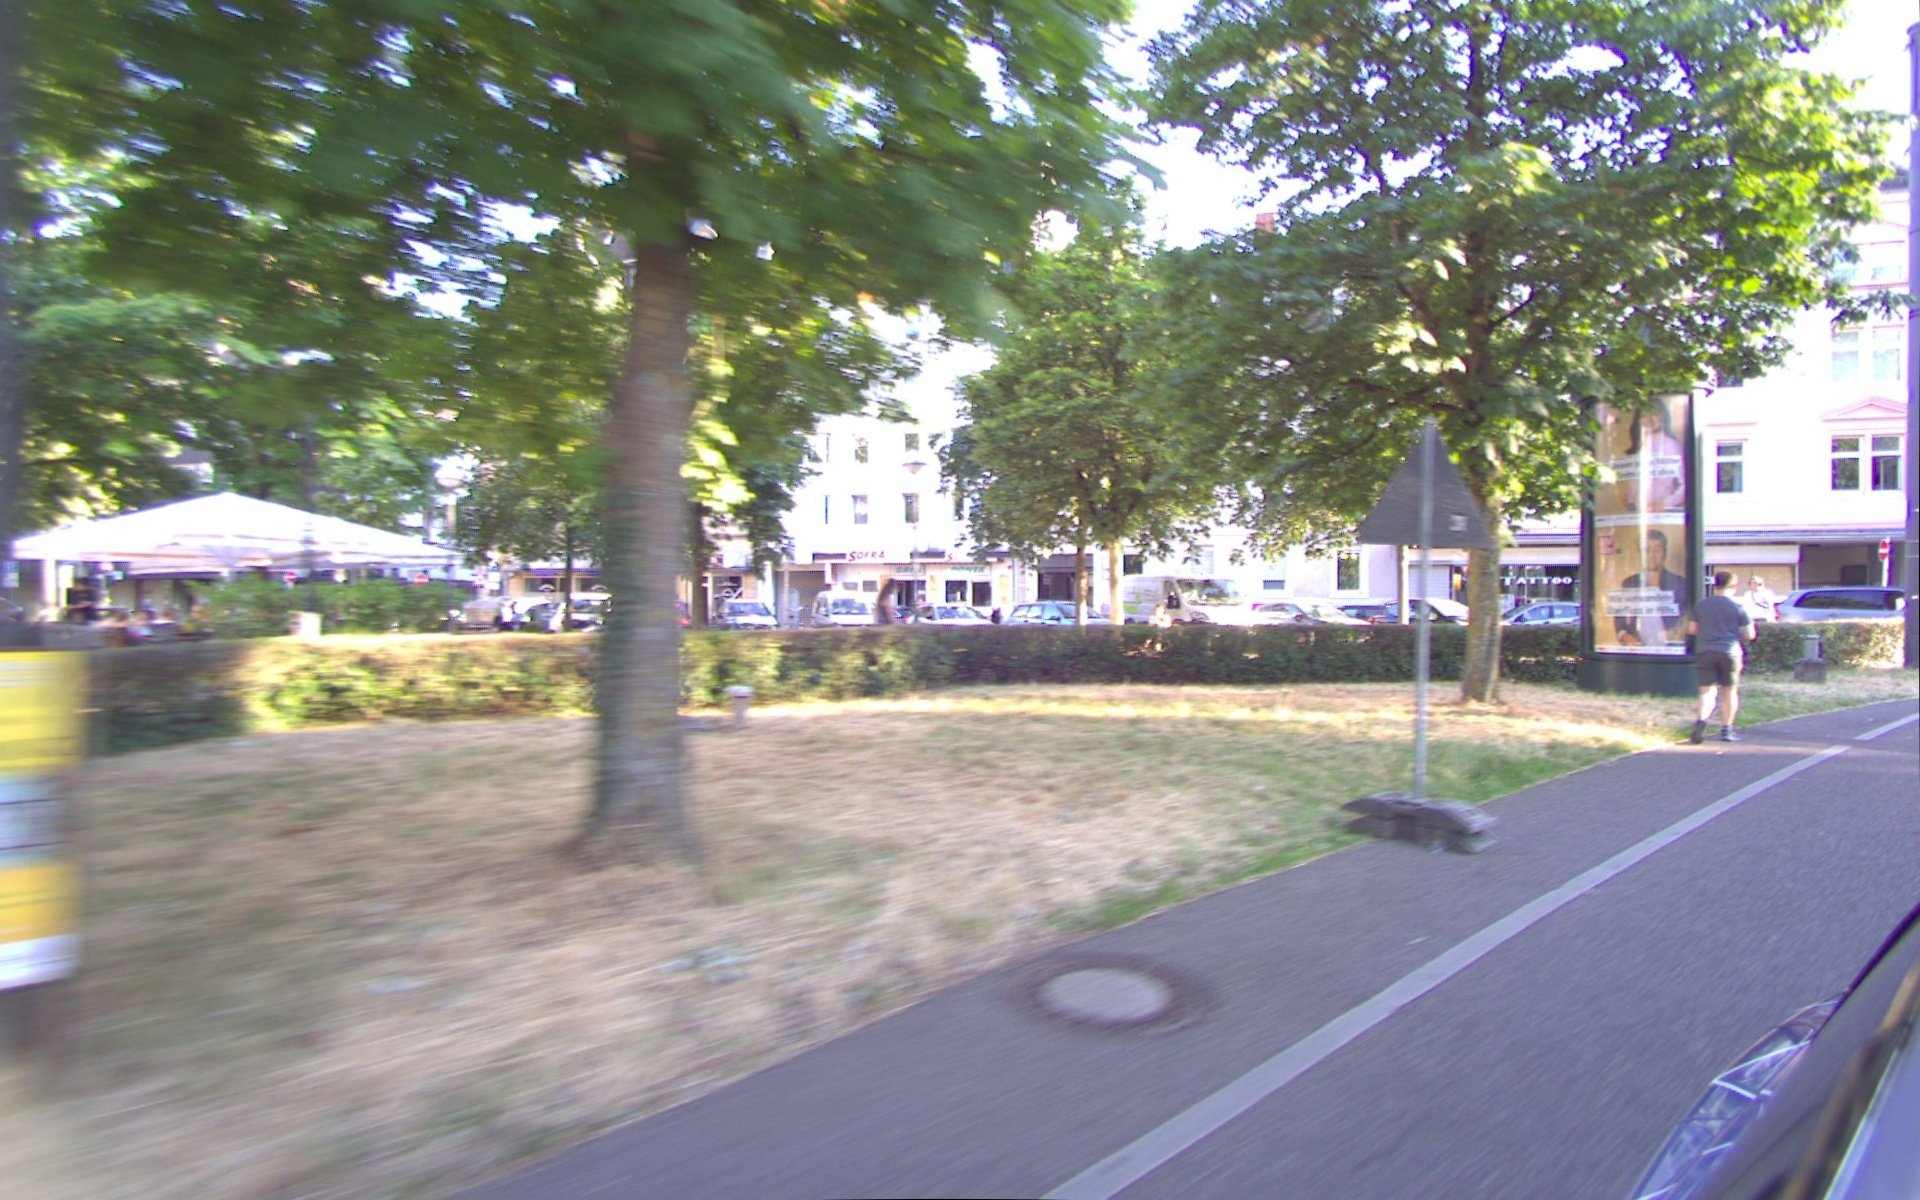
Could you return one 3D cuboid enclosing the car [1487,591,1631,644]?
[{"bbox_3d":[20.455,0.584,34.768,3.951,1.660,1.987,0,3,21],"label":"car"}]

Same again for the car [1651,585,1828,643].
[{"bbox_3d":[25.656,0.453,33.471,4.169,1.806,1.923,-1,1,16],"label":"car"}]

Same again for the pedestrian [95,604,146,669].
[{"bbox_3d":[-15.028,0.644,18.119,0.451,1.131,0.555,-1,-1,12],"label":"pedestrian"}]

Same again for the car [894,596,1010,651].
[{"bbox_3d":[-0.317,0.679,29.959,1.959,1.505,4.006,0,-1,-25],"label":"car"}]

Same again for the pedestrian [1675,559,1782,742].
[{"bbox_3d":[7.665,0.486,10.109,0.630,1.766,0.590,1,-1,-17],"label":"pedestrian"}]

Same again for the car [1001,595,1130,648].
[{"bbox_3d":[2.961,0.597,29.285,1.959,1.416,4.006,0,-1,-25],"label":"car"}]

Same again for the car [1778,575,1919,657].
[{"bbox_3d":[21.836,0.351,22.952,1.960,1.794,4.715,0,-1,-29],"label":"car"}]

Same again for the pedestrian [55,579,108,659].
[{"bbox_3d":[-17.861,0.386,20.588,0.521,1.599,0.637,-1,-1,12],"label":"pedestrian"}]

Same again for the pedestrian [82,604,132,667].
[{"bbox_3d":[-15.681,0.644,18.609,0.451,1.131,0.555,-1,-1,12],"label":"pedestrian"}]

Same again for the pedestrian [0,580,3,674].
[{"bbox_3d":[-17.762,0.496,18.498,0.382,1.706,0.328,0,0,-42],"label":"pedestrian"}]

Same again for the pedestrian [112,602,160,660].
[{"bbox_3d":[-16.328,0.612,20.055,0.486,1.131,0.555,-1,-1,12],"label":"pedestrian"}]

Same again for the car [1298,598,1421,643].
[{"bbox_3d":[14.374,0.721,36.624,3.942,1.511,1.817,-1,2,15],"label":"car"}]

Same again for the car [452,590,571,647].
[{"bbox_3d":[-15.166,0.613,34.467,1.881,1.796,3.989,-1,-1,9],"label":"car"}]

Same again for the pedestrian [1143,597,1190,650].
[{"bbox_3d":[5.000,0.554,24.474,0.948,1.241,1.363,-1,-1,18],"label":"pedestrian"}]

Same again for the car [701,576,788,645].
[{"bbox_3d":[-6.977,0.336,32.476,1.958,2.039,4.006,0,-1,-23],"label":"car"}]

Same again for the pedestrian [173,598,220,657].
[{"bbox_3d":[-14.975,0.538,19.858,0.486,1.131,0.555,-1,-1,12],"label":"pedestrian"}]

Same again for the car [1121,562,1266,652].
[{"bbox_3d":[6.365,0.200,28.291,2.051,2.269,4.889,0,-1,-12],"label":"car"}]

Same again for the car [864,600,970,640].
[{"bbox_3d":[-1.753,0.820,41.679,3.945,1.514,1.942,-1,2,17],"label":"car"}]

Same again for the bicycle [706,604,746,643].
[{"bbox_3d":[-6.409,0.638,27.759,0.320,1.008,1.465,0,0,20],"label":"bicycle"}]

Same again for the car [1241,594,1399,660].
[{"bbox_3d":[9.473,0.684,26.978,1.911,1.625,4.007,0,-1,-18],"label":"car"}]

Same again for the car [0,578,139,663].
[{"bbox_3d":[-23.838,0.499,26.232,1.959,2.039,4.442,-1,0,-7],"label":"car"}]

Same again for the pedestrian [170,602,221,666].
[{"bbox_3d":[-13.674,0.603,18.112,0.486,1.131,0.555,-1,-1,12],"label":"pedestrian"}]

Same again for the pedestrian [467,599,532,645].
[{"bbox_3d":[-13.283,0.622,29.188,1.029,1.266,1.430,-1,-1,44],"label":"pedestrian"}]

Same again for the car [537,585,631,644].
[{"bbox_3d":[-12.317,0.468,33.423,1.875,1.796,4.002,-1,-1,-4],"label":"car"}]

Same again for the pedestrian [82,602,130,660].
[{"bbox_3d":[-17.004,0.617,20.150,0.486,1.131,0.555,-1,-1,12],"label":"pedestrian"}]

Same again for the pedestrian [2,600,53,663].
[{"bbox_3d":[-16.976,0.565,18.432,0.451,1.131,0.529,-1,-1,12],"label":"pedestrian"}]

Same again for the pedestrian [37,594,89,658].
[{"bbox_3d":[-16.312,0.469,18.406,0.451,1.131,0.555,-1,-1,12],"label":"pedestrian"}]

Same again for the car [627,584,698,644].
[{"bbox_3d":[-9.680,0.441,32.715,1.872,1.796,4.007,0,-1,-21],"label":"car"}]

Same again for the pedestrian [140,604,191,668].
[{"bbox_3d":[-14.345,0.648,18.277,0.486,1.131,0.555,-1,-1,12],"label":"pedestrian"}]

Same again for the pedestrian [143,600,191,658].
[{"bbox_3d":[-15.628,0.561,19.950,0.486,1.131,0.555,-1,-1,12],"label":"pedestrian"}]

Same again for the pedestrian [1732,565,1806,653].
[{"bbox_3d":[16.405,0.176,20.536,0.957,1.753,0.728,0,-1,-17],"label":"pedestrian"}]

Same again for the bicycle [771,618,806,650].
[{"bbox_3d":[-4.466,0.878,26.394,0.439,0.789,1.269,0,0,14],"label":"bicycle"}]

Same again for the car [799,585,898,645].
[{"bbox_3d":[-3.514,0.443,31.298,1.958,1.728,4.006,0,-1,-23],"label":"car"}]
